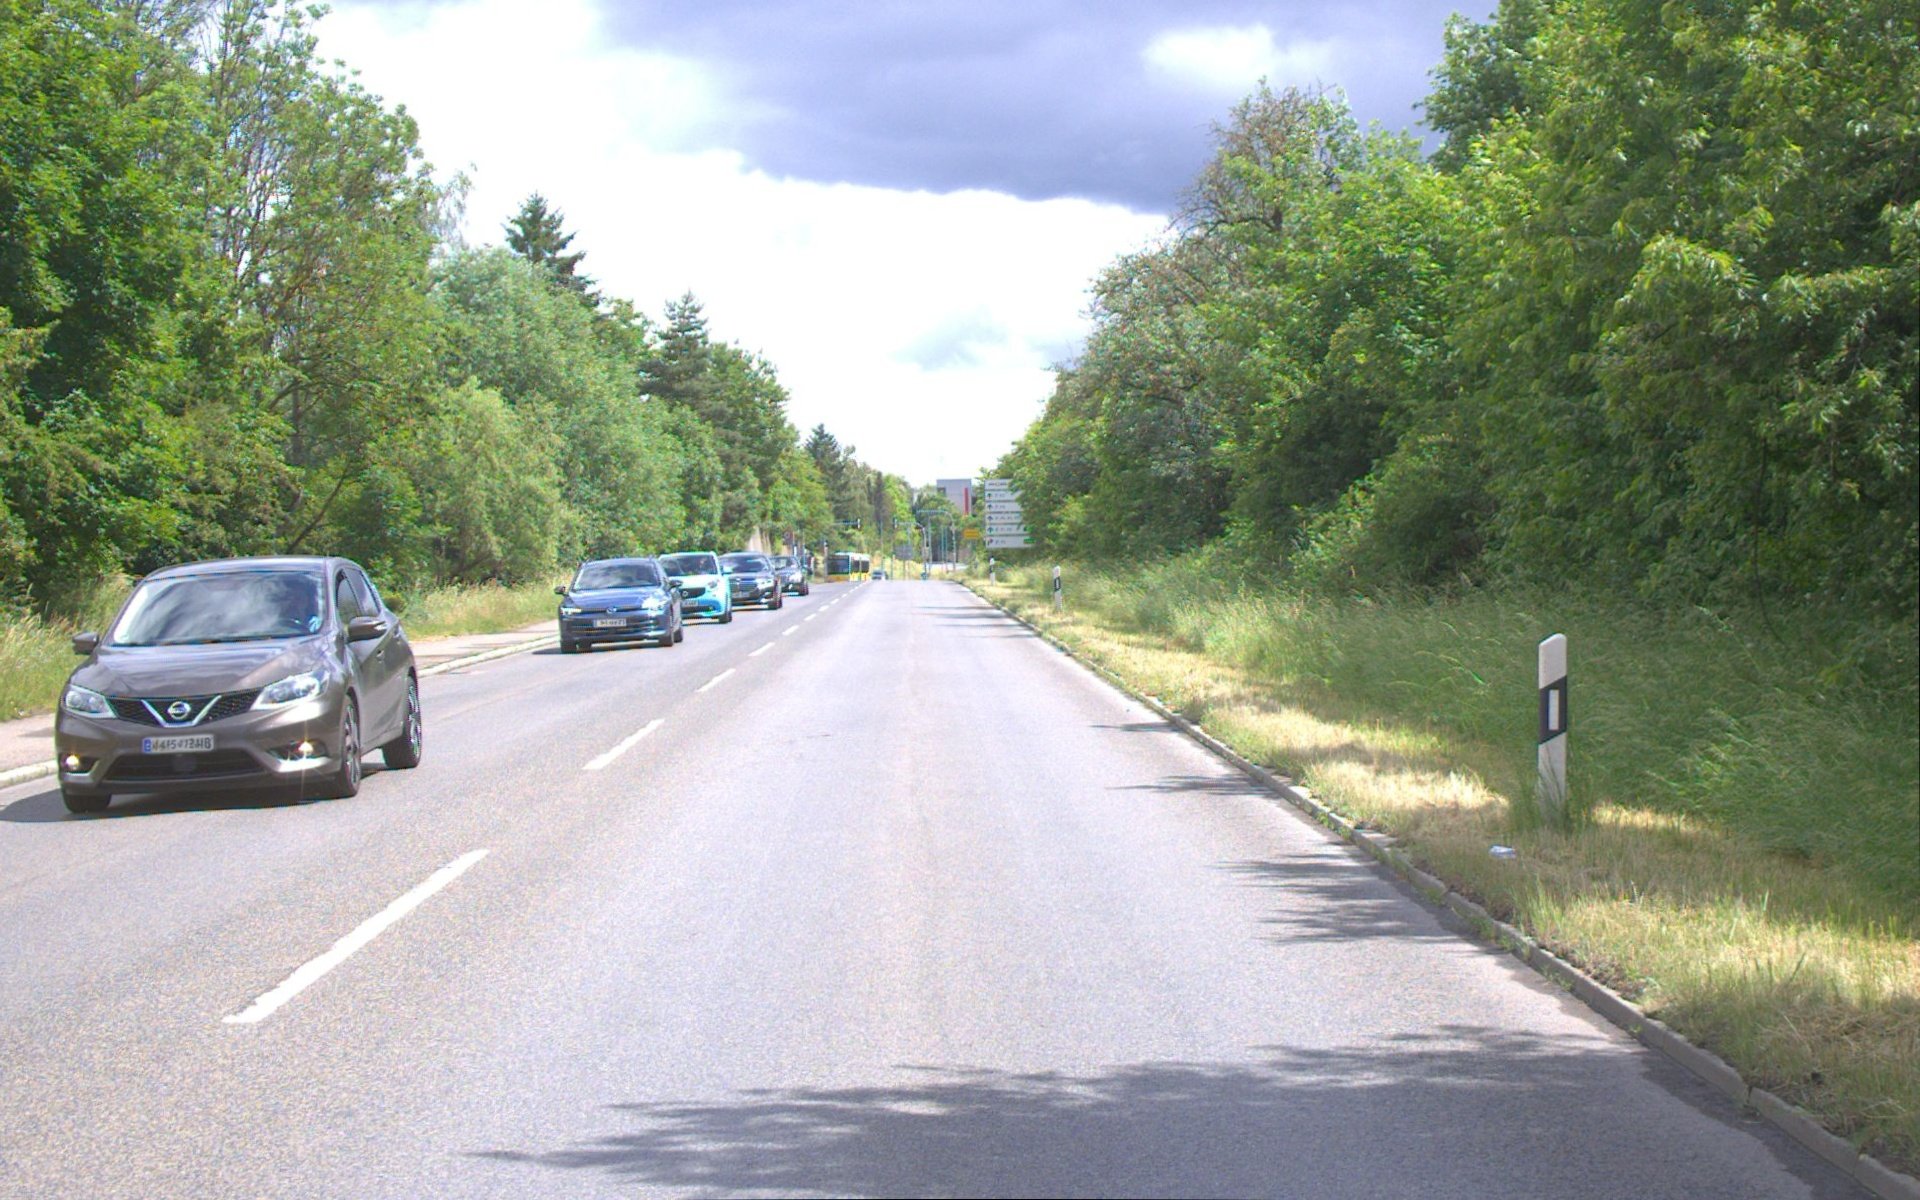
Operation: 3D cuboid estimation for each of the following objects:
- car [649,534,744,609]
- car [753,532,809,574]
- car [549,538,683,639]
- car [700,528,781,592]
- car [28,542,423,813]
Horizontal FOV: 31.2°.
[{"bbox_3d":[-5.498,-0.615,71.936,1.784,1.441,2.967,-3,1,-2],"label":"car"},{"bbox_3d":[-6.144,-1.625,118.194,1.784,1.329,4.623,-3,1,-2],"label":"car"},{"bbox_3d":[-5.479,-0.216,55.203,1.784,1.441,4.453,-3,1,-2],"label":"car"},{"bbox_3d":[-5.629,-1.050,88.675,1.884,1.486,4.718,-3,1,-2],"label":"car"},{"bbox_3d":[-4.622,0.421,22.179,1.716,1.466,4.001,-3,1,-2],"label":"car"}]
